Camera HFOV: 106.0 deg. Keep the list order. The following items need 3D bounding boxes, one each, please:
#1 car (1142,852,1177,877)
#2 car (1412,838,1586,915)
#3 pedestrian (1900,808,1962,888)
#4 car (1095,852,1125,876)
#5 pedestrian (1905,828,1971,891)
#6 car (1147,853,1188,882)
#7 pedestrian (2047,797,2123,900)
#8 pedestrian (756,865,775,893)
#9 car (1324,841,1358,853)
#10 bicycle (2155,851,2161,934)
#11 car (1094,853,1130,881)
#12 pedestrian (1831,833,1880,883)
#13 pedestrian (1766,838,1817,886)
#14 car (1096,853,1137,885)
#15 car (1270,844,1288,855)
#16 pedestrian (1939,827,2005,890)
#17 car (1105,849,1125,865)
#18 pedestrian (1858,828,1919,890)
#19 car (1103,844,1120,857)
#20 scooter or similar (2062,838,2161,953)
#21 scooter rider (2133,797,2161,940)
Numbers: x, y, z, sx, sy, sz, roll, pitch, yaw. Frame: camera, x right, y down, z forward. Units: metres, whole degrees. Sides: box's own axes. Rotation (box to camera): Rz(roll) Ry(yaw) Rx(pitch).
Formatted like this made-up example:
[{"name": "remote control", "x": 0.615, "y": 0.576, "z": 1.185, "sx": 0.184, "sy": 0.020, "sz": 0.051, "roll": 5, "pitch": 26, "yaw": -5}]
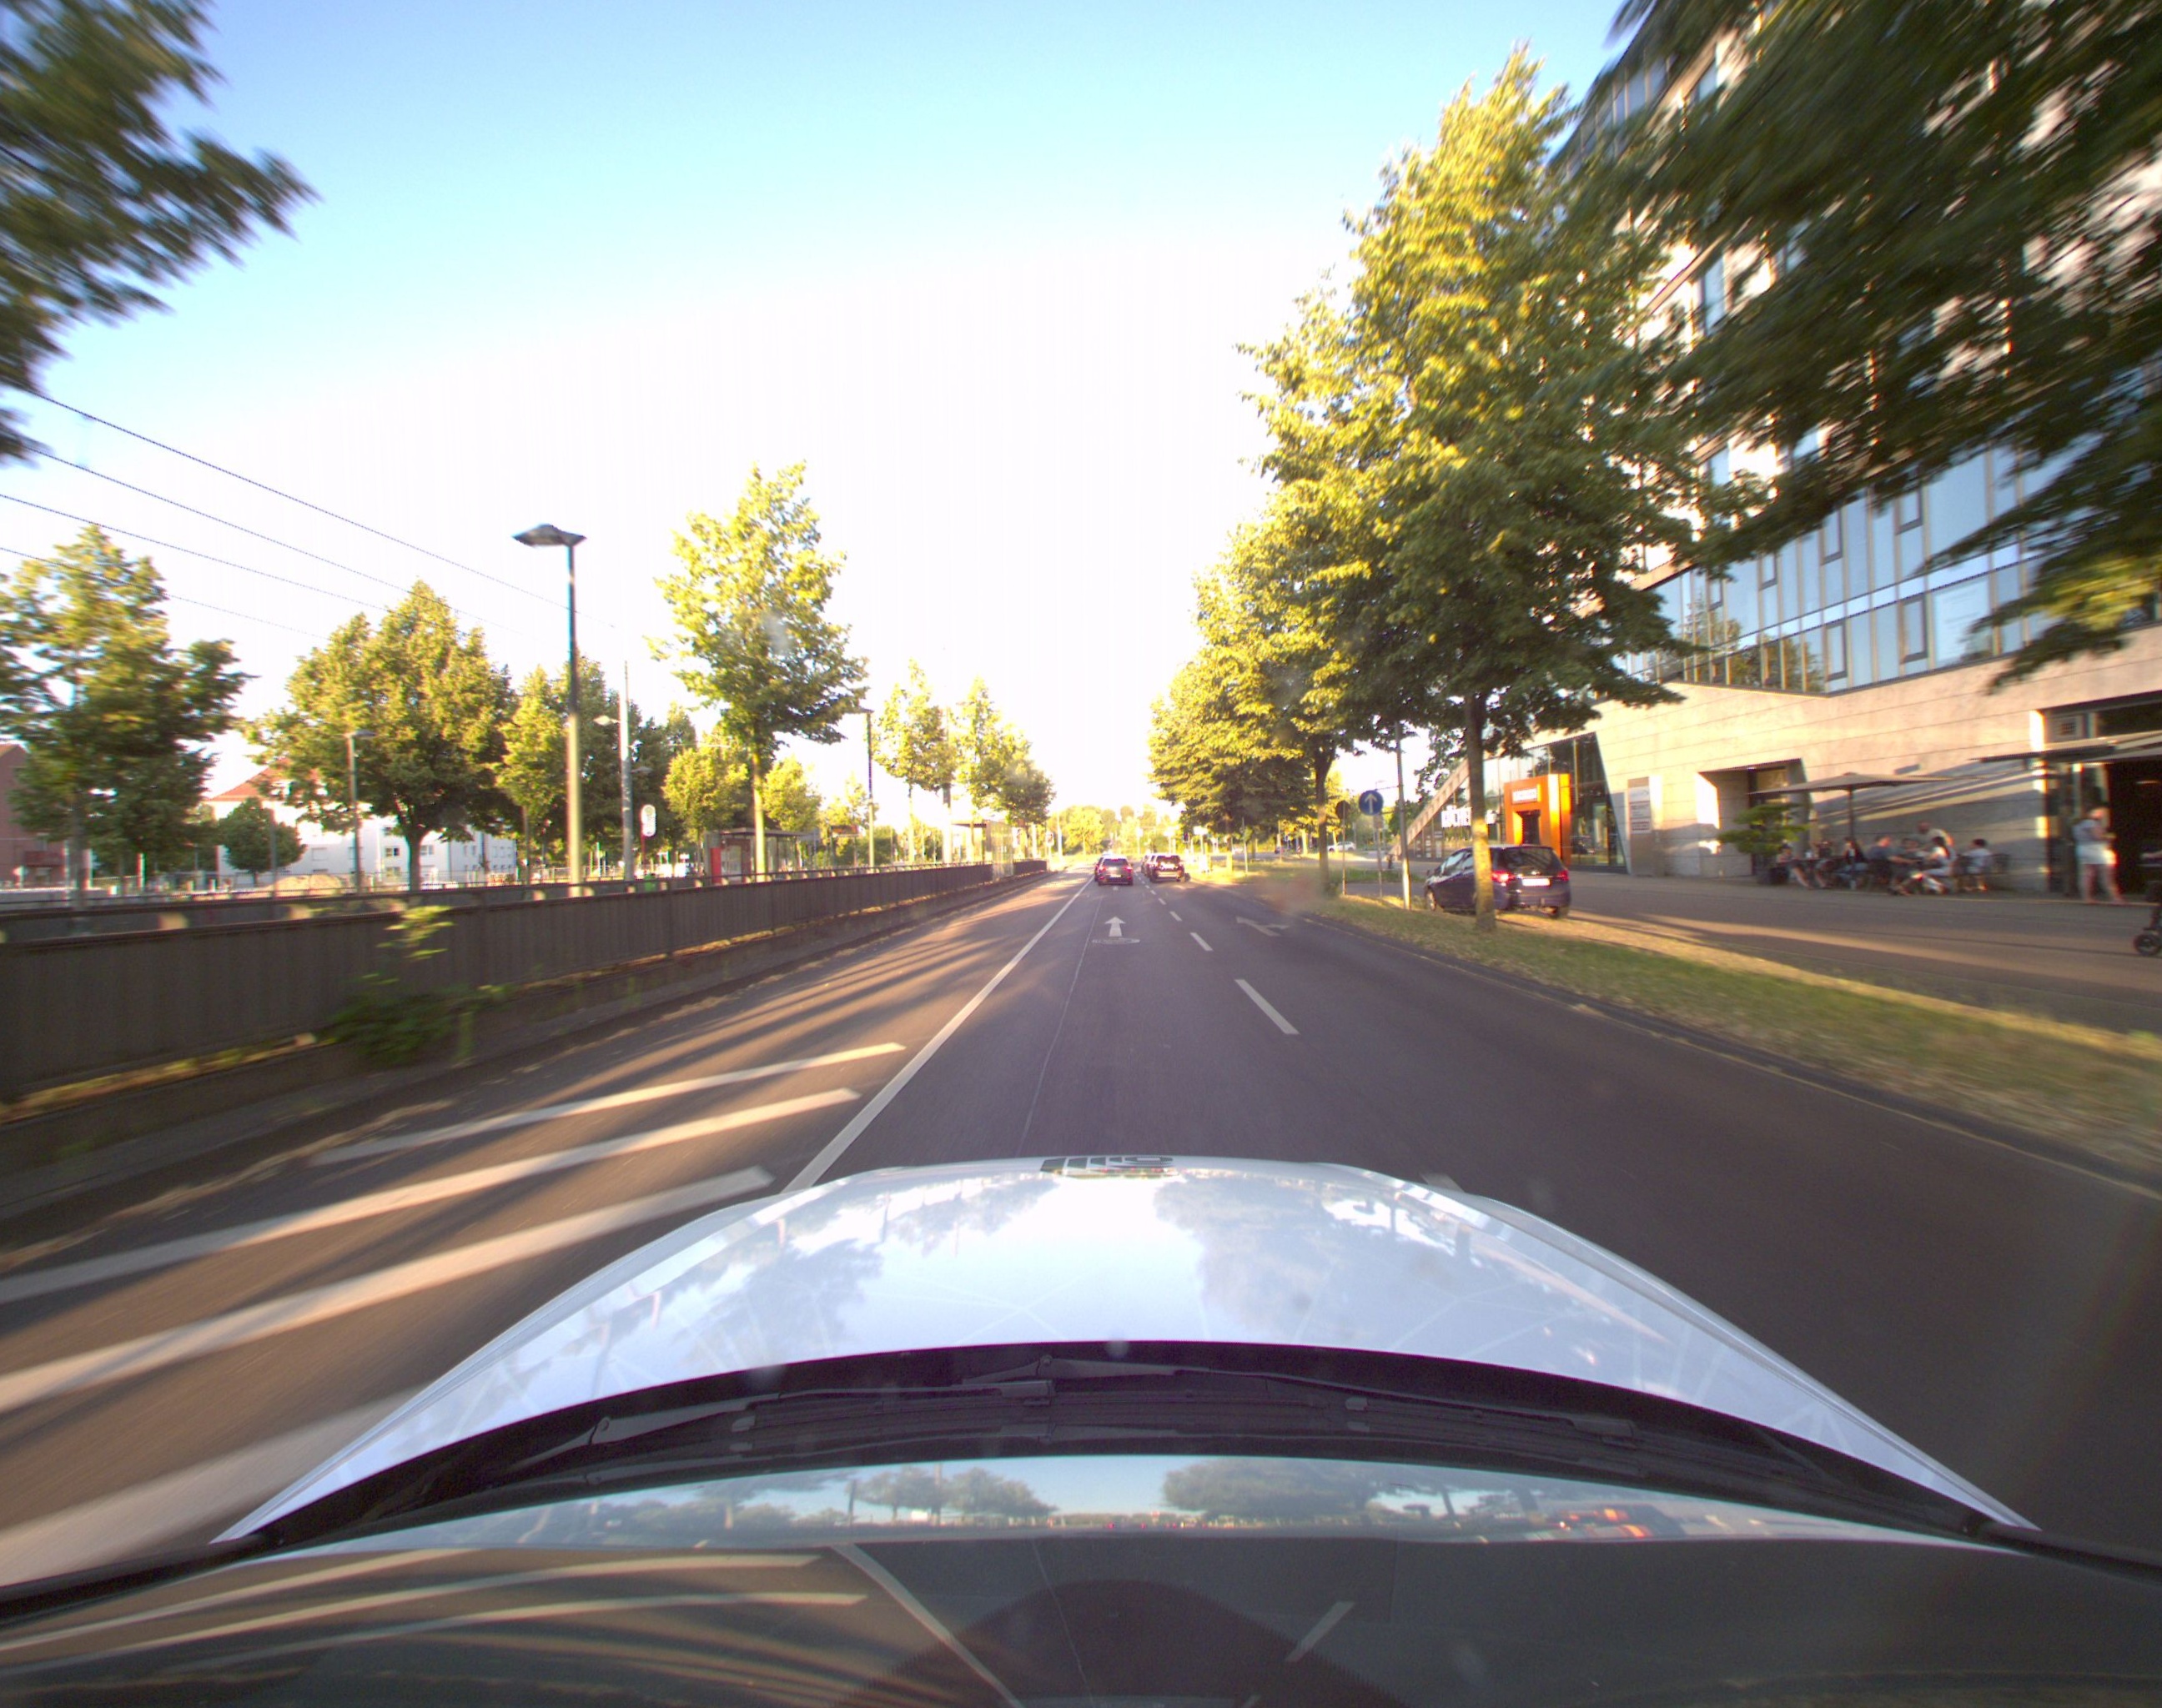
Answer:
[{"name": "car", "x": 4.996, "y": 0.624, "z": 52.095, "sx": 1.905, "sy": 1.486, "sz": 4.001, "roll": -2, "pitch": 0, "yaw": 2}, {"name": "car", "x": 9.165, "y": 0.442, "z": 18.292, "sx": 1.751, "sy": 1.466, "sz": 4.158, "roll": -2, "pitch": 0, "yaw": 0}, {"name": "pedestrian", "x": 18.884, "y": -0.129, "z": 18.102, "sx": 0.635, "sy": 1.718, "sz": 0.695, "roll": -2, "pitch": 0, "yaw": -18}, {"name": "car", "x": 1.960, "y": 0.651, "z": 55.267, "sx": 1.905, "sy": 1.486, "sz": 4.001, "roll": -2, "pitch": 0, "yaw": 2}, {"name": "pedestrian", "x": 18.163, "y": 0.106, "z": 17.275, "sx": 0.577, "sy": 1.282, "sz": 0.738, "roll": -2, "pitch": 0, "yaw": -2}, {"name": "car", "x": 4.690, "y": 0.692, "z": 44.781, "sx": 1.905, "sy": 1.486, "sz": 4.001, "roll": -2, "pitch": 0, "yaw": 2}, {"name": "pedestrian", "x": 17.583, "y": -0.102, "z": 14.262, "sx": 0.707, "sy": 1.737, "sz": 0.683, "roll": -2, "pitch": 0, "yaw": -28}, {"name": "pedestrian", "x": -15.353, "y": 1.190, "z": 39.630, "sx": 0.613, "sy": 1.319, "sz": 0.744, "roll": -2, "pitch": 0, "yaw": -1}, {"name": "car", "x": 36.019, "y": -1.028, "z": 113.089, "sx": 4.393, "sy": 1.486, "sz": 1.926, "roll": -2, "pitch": 0, "yaw": 15}, {"name": "bicycle", "x": 14.403, "y": 0.487, "z": 9.590, "sx": 0.769, "sy": 1.079, "sz": 2.063, "roll": -2, "pitch": 0, "yaw": 0}, {"name": "car", "x": 1.779, "y": 0.734, "z": 47.281, "sx": 1.905, "sy": 1.486, "sz": 4.001, "roll": -2, "pitch": 0, "yaw": 2}, {"name": "pedestrian", "x": 18.859, "y": 0.093, "z": 19.834, "sx": 0.618, "sy": 1.186, "sz": 0.713, "roll": -2, "pitch": 0, "yaw": -35}, {"name": "pedestrian", "x": 18.218, "y": 0.190, "z": 20.898, "sx": 0.569, "sy": 1.186, "sz": 0.862, "roll": -2, "pitch": 0, "yaw": 3}, {"name": "car", "x": 1.769, "y": 0.726, "z": 40.976, "sx": 1.905, "sy": 1.486, "sz": 4.001, "roll": -2, "pitch": 0, "yaw": 2}, {"name": "car", "x": 34.950, "y": -0.773, "z": 143.844, "sx": 1.974, "sy": 1.728, "sz": 4.025, "roll": -2, "pitch": 0, "yaw": 31}, {"name": "pedestrian", "x": 18.891, "y": 0.099, "z": 17.280, "sx": 0.580, "sy": 1.282, "sz": 0.735, "roll": -2, "pitch": 0, "yaw": -16}, {"name": "car", "x": 3.420, "y": 0.285, "z": 83.000, "sx": 1.905, "sy": 1.486, "sz": 4.001, "roll": -2, "pitch": 0, "yaw": 2}, {"name": "pedestrian", "x": 17.460, "y": 0.109, "z": 17.624, "sx": 0.627, "sy": 1.282, "sz": 0.712, "roll": -2, "pitch": 0, "yaw": -19}, {"name": "car", "x": 3.698, "y": -0.434, "z": 98.732, "sx": 1.905, "sy": 1.486, "sz": 4.001, "roll": -2, "pitch": 0, "yaw": 2}, {"name": "scooter or similar", "x": 12.639, "y": 0.473, "z": 9.426, "sx": 0.524, "sy": 1.310, "sz": 1.664, "roll": -2, "pitch": 0, "yaw": 0}, {"name": "scooter rider", "x": 12.620, "y": 0.154, "z": 9.133, "sx": 0.524, "sy": 1.638, "sz": 0.832, "roll": -2, "pitch": 0, "yaw": 0}]
